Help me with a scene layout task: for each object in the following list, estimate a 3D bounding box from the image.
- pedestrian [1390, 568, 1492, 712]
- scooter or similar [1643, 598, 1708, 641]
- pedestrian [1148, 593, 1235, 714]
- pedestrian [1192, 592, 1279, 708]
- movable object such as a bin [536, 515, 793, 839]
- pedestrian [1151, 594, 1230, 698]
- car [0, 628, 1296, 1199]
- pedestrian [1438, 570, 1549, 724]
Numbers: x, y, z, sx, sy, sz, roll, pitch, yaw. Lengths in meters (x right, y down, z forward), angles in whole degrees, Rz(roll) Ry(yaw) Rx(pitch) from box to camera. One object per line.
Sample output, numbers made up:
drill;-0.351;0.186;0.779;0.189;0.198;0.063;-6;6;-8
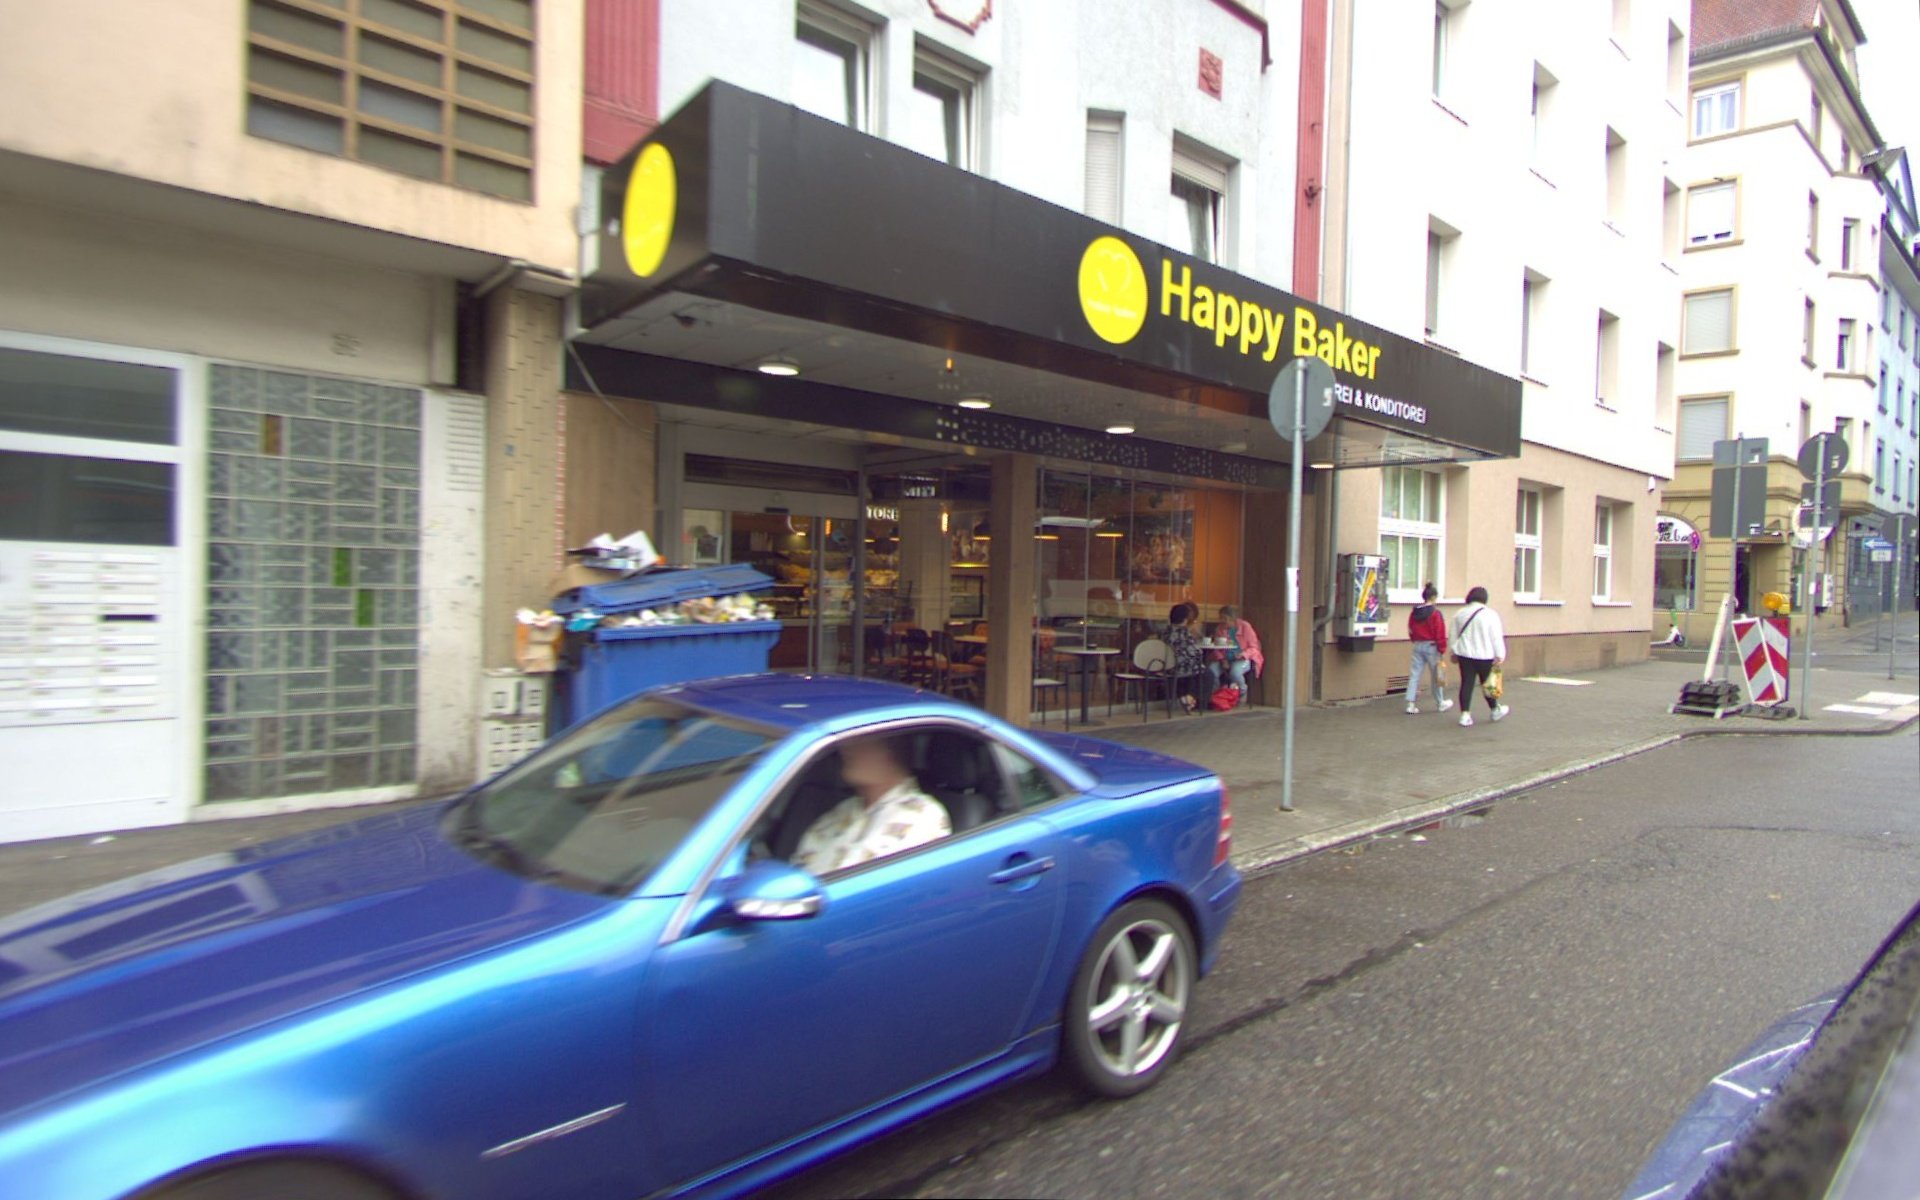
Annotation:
pedestrian;5.822;0.462;12.287;0.767;1.667;0.705;2;2;-6
scooter or similar;20.854;0.561;29.516;1.457;1.163;0.486;-1;5;13
pedestrian;2.590;0.577;11.328;0.645;1.273;0.625;1;3;-32
pedestrian;3.254;0.565;11.969;0.647;1.273;0.703;0;3;-40
movable object such as a bin;-1.880;0.403;6.463;1.274;1.815;1.001;-1;2;-42
pedestrian;3.016;0.582;13.257;0.647;1.273;0.703;0;3;-40
car;-0.831;0.822;3.008;3.698;1.326;1.739;-1;1;-38
pedestrian;6.051;0.513;11.516;0.767;1.667;0.705;2;2;-6
